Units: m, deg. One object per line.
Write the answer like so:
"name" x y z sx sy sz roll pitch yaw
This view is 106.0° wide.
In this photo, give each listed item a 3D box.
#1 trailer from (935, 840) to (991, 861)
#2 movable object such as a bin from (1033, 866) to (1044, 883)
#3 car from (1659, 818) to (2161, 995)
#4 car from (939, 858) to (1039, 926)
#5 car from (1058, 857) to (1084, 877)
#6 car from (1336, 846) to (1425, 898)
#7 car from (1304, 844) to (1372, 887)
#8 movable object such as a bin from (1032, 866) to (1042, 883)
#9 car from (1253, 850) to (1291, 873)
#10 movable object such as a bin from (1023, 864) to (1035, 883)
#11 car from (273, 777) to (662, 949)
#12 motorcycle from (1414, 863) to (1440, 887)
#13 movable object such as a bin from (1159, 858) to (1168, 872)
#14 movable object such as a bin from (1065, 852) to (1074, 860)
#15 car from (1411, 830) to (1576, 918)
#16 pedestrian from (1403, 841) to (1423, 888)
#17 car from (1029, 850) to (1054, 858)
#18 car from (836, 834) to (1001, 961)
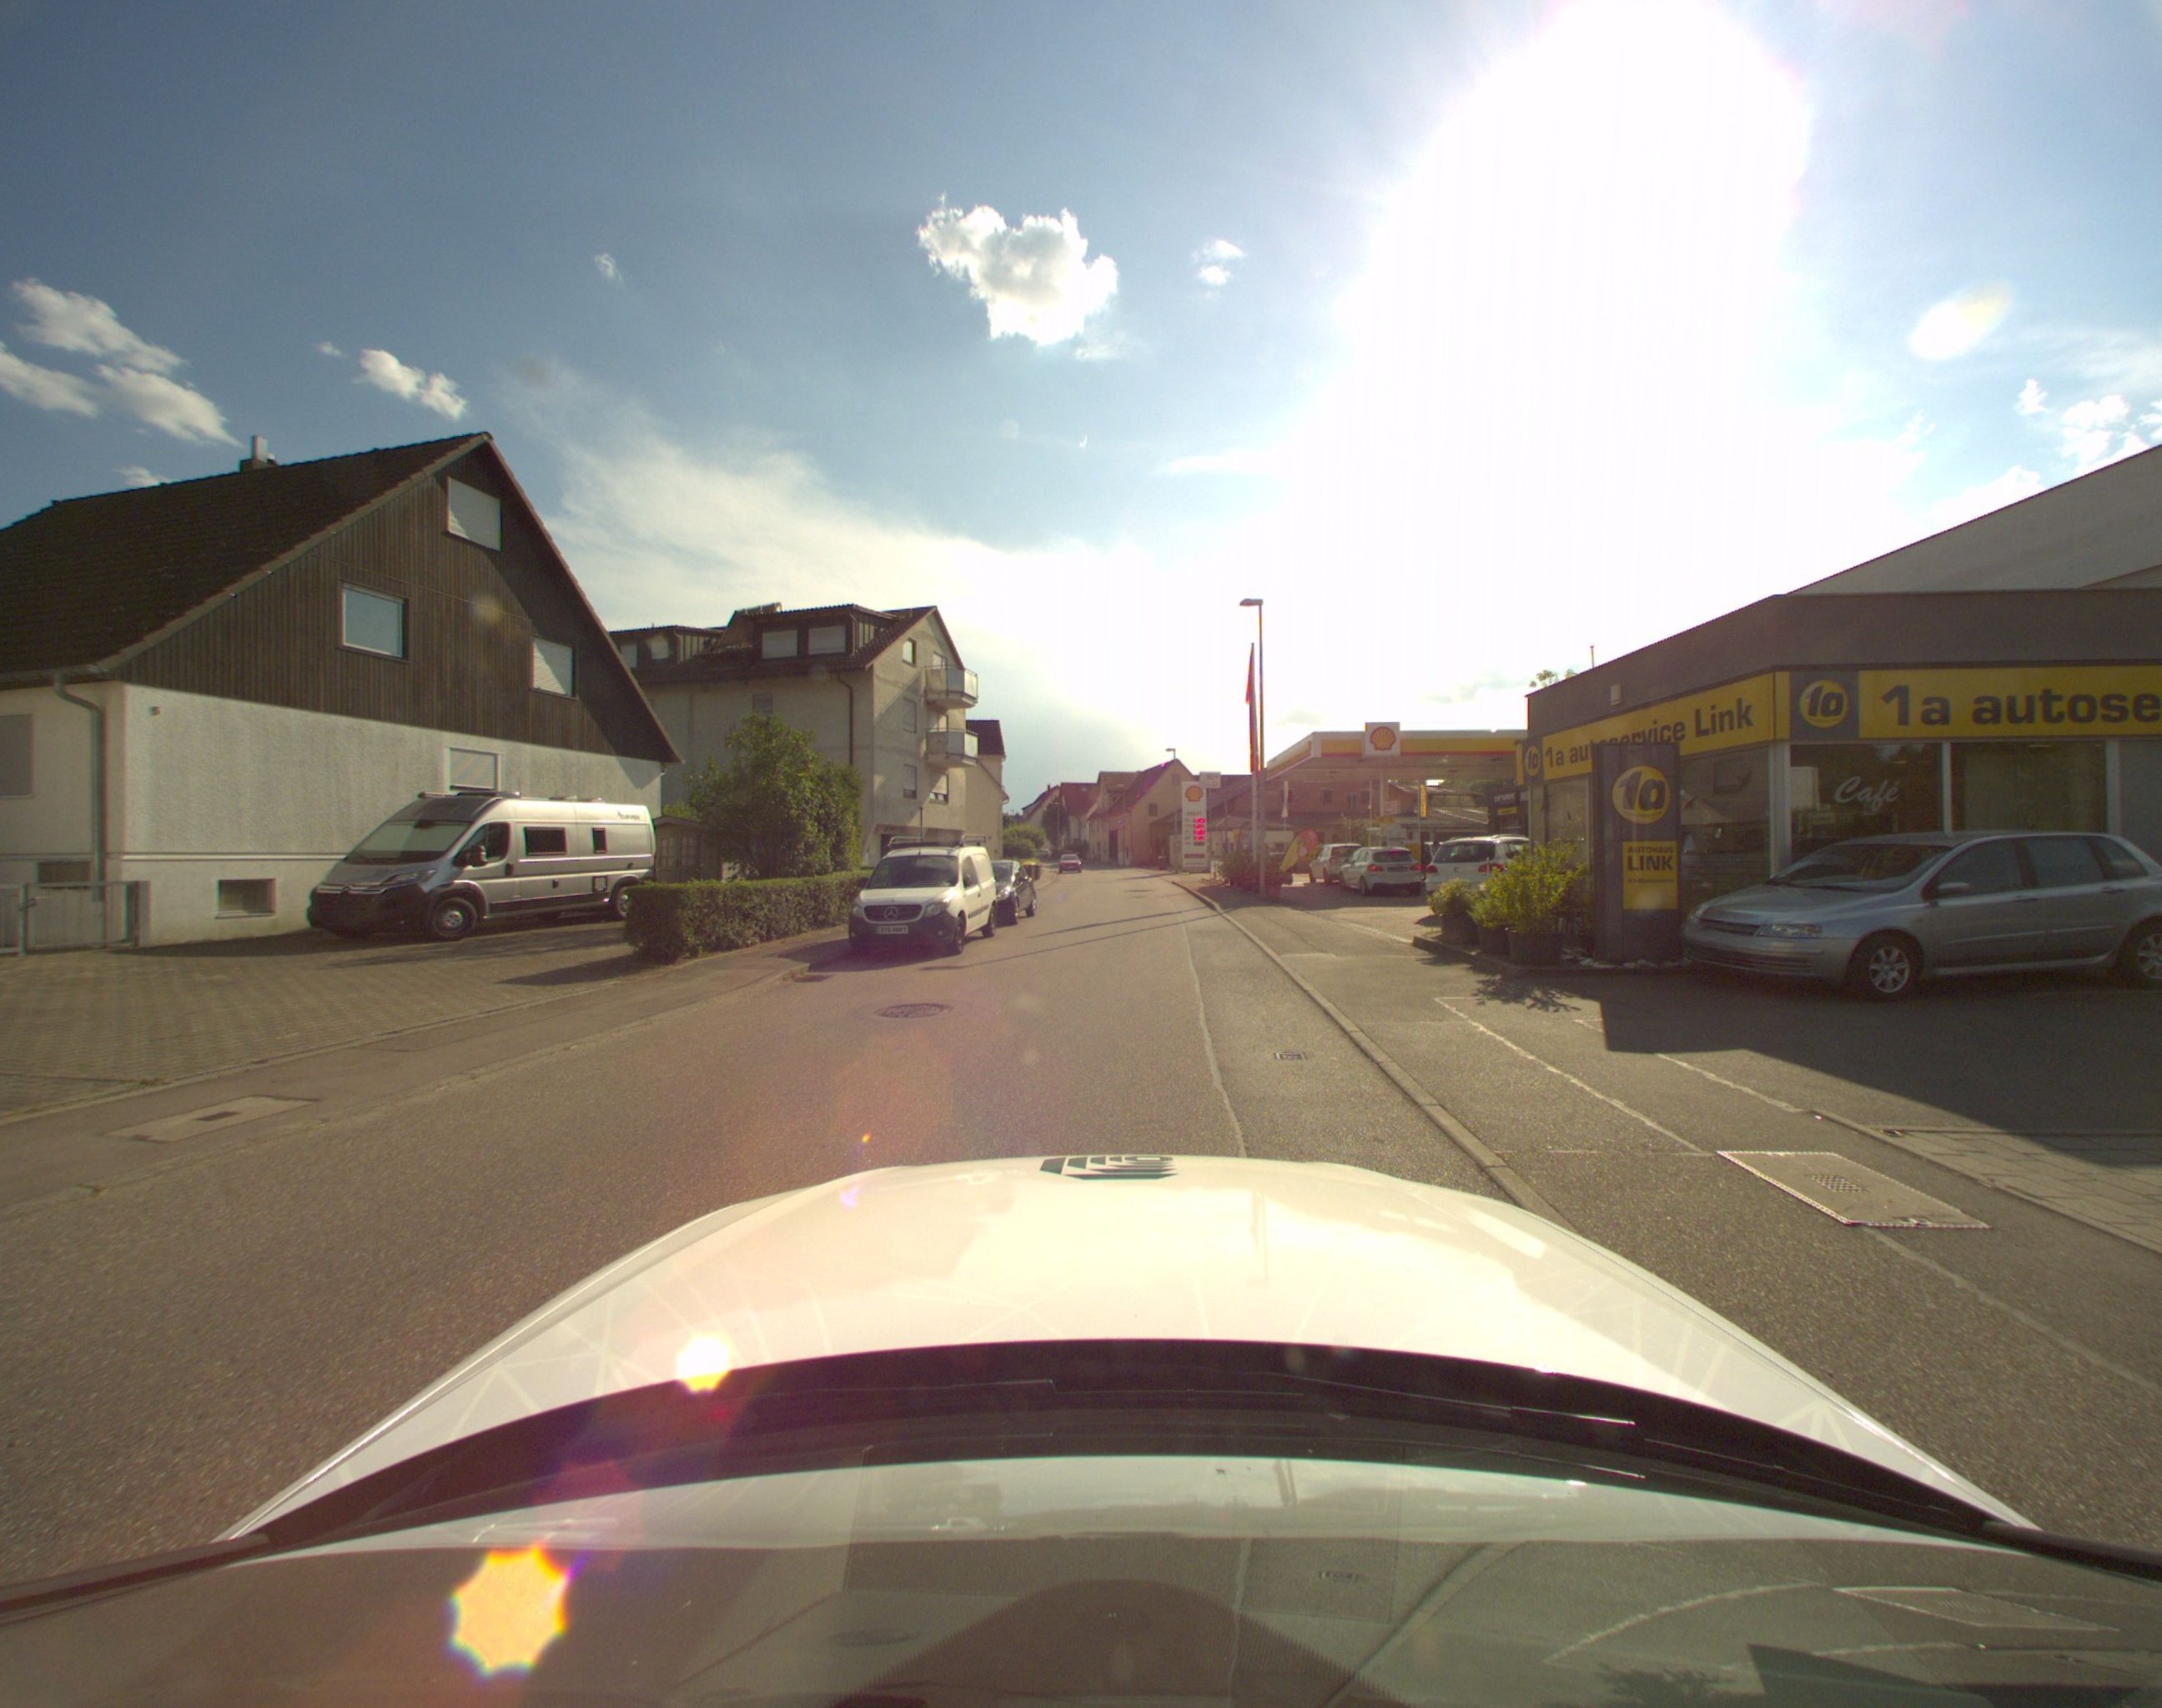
"trailer" -5.436 -0.145 37.867 1.319 0.855 2.905 1 -2 20
"movable object such as a bin" -2.596 1.261 49.780 0.529 1.022 0.458 -2 0 2
"car" 8.277 0.464 8.115 3.975 1.531 1.527 -1 0 -1
"car" -2.116 0.844 19.805 1.665 1.451 3.839 -1 0 5
"car" -0.804 1.020 64.450 1.706 1.435 3.772 -2 0 -6
"car" 9.860 0.547 27.134 1.665 1.577 4.002 -1 0 3
"car" 10.206 0.405 32.631 1.665 1.577 4.002 -1 0 3
"movable object such as a bin" -2.670 1.250 49.242 0.529 1.022 0.458 -2 0 2
"car" 12.321 0.480 52.697 1.572 1.427 4.383 0 0 2
"movable object such as a bin" -3.023 1.138 47.473 0.585 1.084 0.508 -2 0 2
"car" -10.961 0.121 15.468 2.146 2.596 6.109 0 0 8
"motorcycle" 13.300 0.784 31.377 0.391 0.874 1.815 -1 0 6
"movable object such as a bin" 6.529 0.859 64.175 0.651 1.073 0.513 -1 0 0
"movable object such as a bin" -1.662 0.260 113.576 1.160 1.168 0.653 -1 0 -9
"car" 9.162 0.387 17.950 4.098 1.674 1.658 -2 0 -39
"pedestrian" 11.954 0.383 29.335 0.498 1.670 0.535 -1 -1 3
"car" -6.546 -0.019 134.258 3.981 1.352 1.707 -1 0 -6
"car" -2.675 0.668 14.409 1.708 1.872 4.197 -2 0 5
